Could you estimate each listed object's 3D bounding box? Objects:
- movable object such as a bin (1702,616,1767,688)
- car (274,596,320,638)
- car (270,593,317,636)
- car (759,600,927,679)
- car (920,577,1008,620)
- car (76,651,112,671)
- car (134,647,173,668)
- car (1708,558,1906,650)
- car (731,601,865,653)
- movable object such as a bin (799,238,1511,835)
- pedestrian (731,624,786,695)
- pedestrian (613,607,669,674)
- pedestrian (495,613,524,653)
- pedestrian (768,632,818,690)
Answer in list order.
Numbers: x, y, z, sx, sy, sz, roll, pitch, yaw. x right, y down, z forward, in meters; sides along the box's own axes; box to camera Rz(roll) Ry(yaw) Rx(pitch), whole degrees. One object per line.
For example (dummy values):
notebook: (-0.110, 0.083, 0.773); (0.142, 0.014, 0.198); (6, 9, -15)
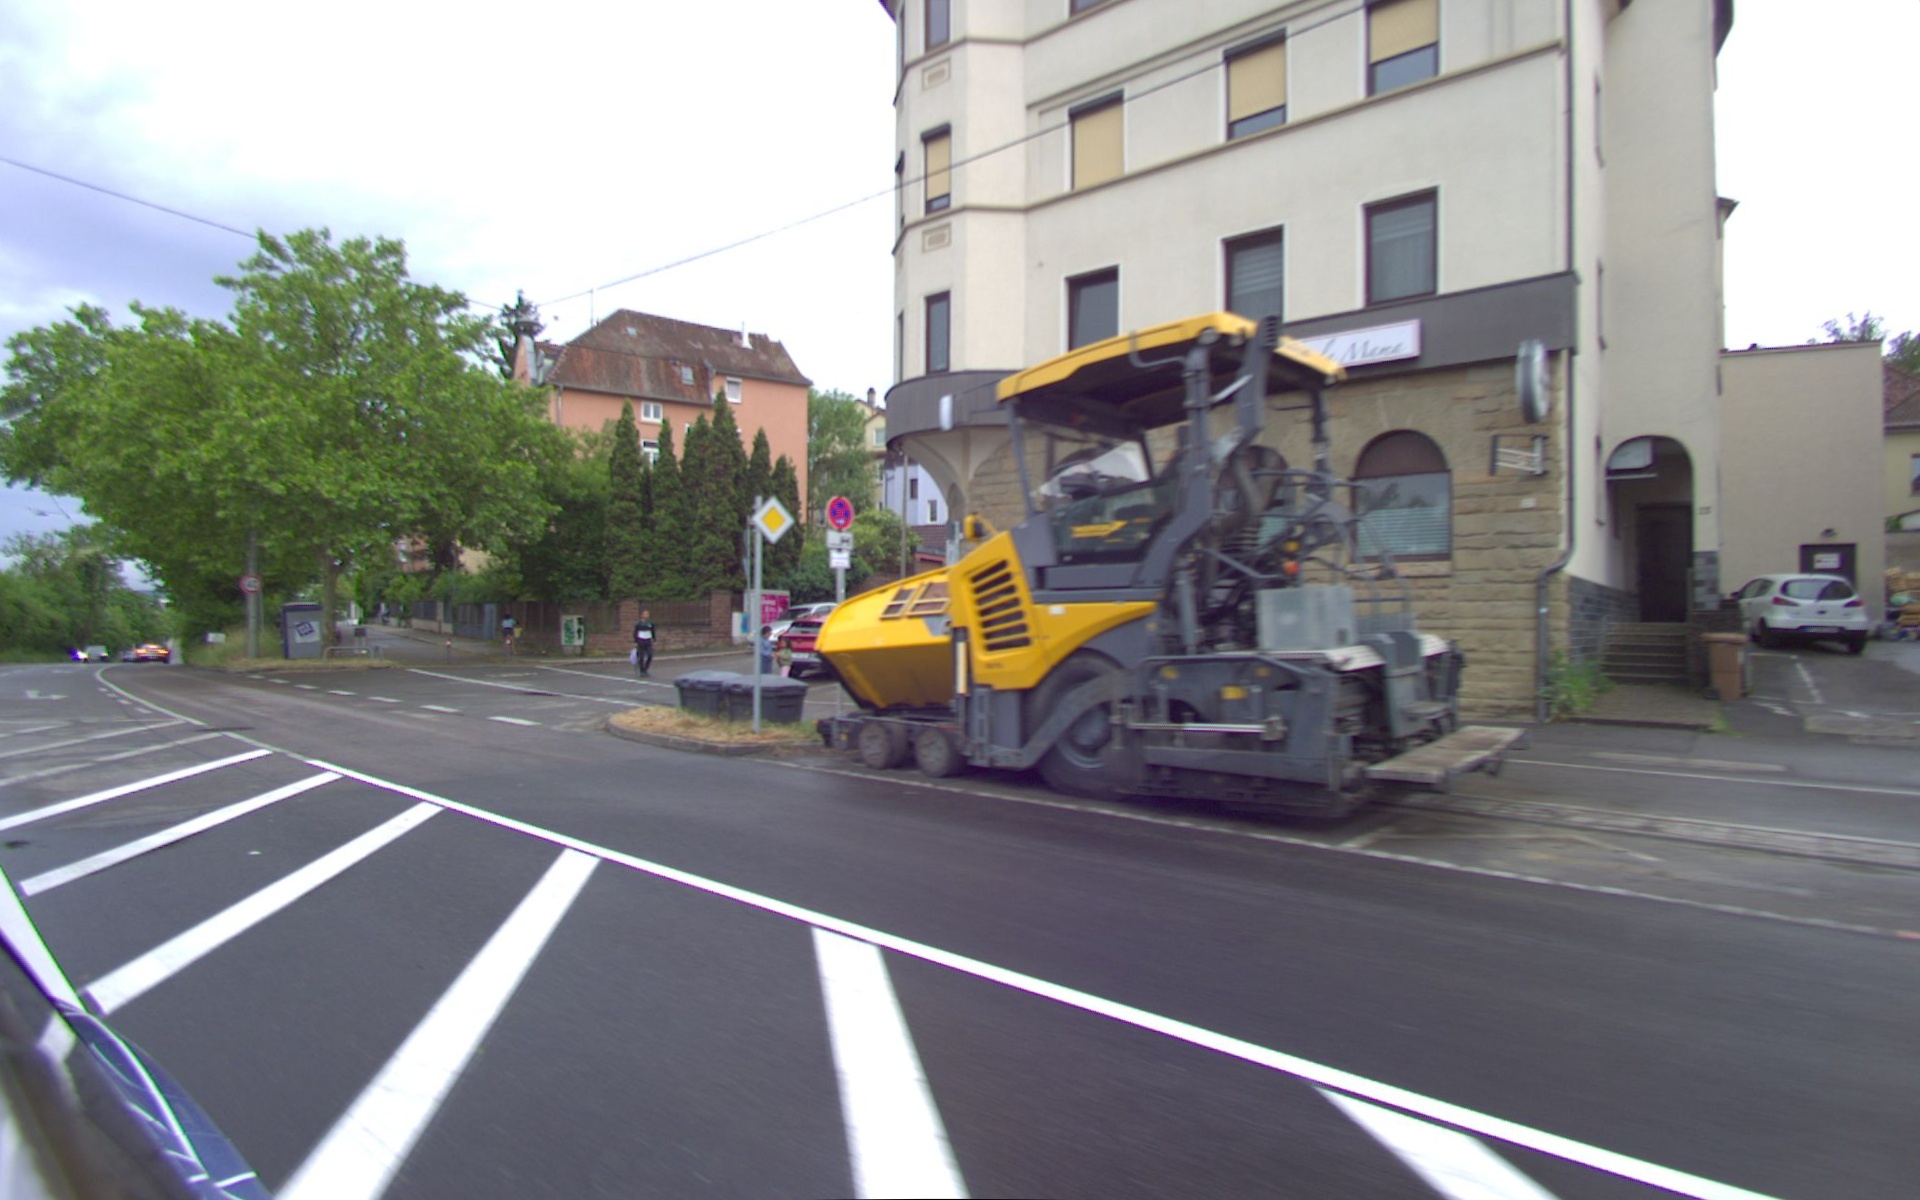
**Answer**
movable object such as a bin: (11.026, 0.737, 14.421); (0.645, 0.981, 0.616); (-4, -2, 35)
car: (-35.536, 0.954, 54.186); (1.967, 2.029, 4.639); (-1, -2, -35)
car: (-32.710, 0.745, 49.605); (1.806, 1.857, 4.639); (-1, -2, -35)
car: (-2.774, 0.915, 25.137); (1.927, 1.585, 4.505); (-3, 1, 26)
car: (0.236, -0.082, 42.935); (1.879, 1.395, 4.227); (-3, 3, 29)
car: (-68.841, 4.857, 80.500); (1.968, 1.453, 4.008); (-1, -2, -38)
car: (-59.406, 4.229, 74.577); (2.044, 1.363, 4.723); (-1, -2, -36)
car: (17.756, 0.123, 21.470); (1.881, 1.684, 3.973); (-3, -2, 20)
car: (-5.111, 0.820, 32.430); (1.881, 1.396, 4.219); (-3, 0, 33)
movable object such as a bin: (1.461, -0.281, 9.635); (5.988, 3.885, 2.744); (-4, -3, 44)
pedestrian: (-4.172, 1.218, 20.941); (0.801, 1.412, 0.778); (-3, -2, 18)
pedestrian: (-8.078, 1.021, 25.639); (0.989, 1.642, 0.883); (-3, -2, 23)
pedestrian: (-15.878, 1.180, 35.669); (0.780, 1.365, 0.793); (-1, -2, -35)
pedestrian: (-3.408, 1.239, 20.644); (0.737, 1.132, 0.728); (-3, -2, 16)
